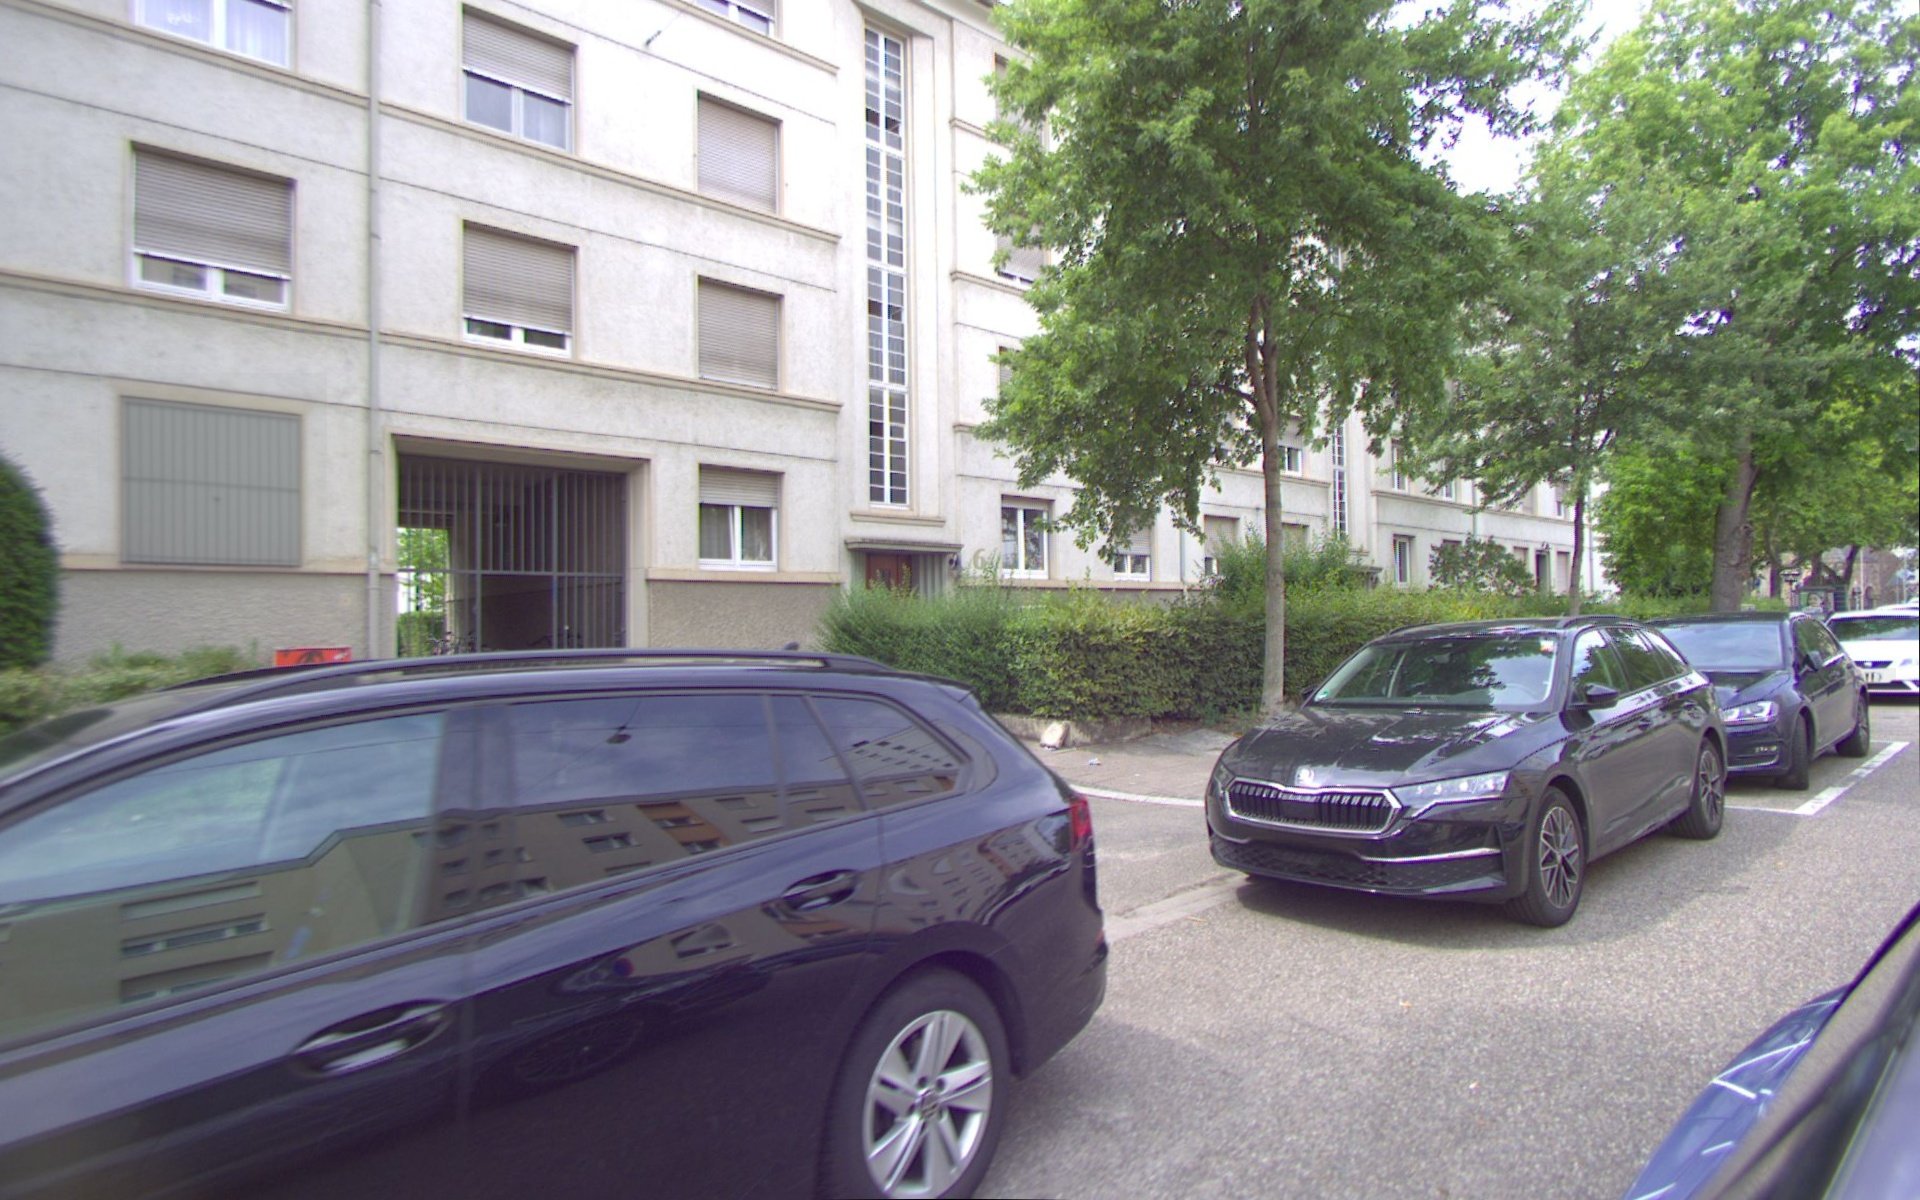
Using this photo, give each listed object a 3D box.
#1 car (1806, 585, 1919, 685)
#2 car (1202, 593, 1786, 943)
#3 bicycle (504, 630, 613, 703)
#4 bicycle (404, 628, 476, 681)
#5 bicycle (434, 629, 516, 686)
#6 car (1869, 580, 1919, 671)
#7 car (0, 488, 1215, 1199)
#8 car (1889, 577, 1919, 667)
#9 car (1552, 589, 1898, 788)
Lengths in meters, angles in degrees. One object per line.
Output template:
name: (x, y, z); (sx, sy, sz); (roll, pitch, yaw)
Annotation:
car: (15.290, 0.517, 16.532); (4.031, 1.468, 1.699); (0, -2, -42)
car: (3.637, 0.748, 6.475); (4.479, 1.488, 1.700); (-1, -2, -40)
bicycle: (-6.608, 1.036, 16.546); (0.862, 1.090, 2.656); (1, -2, -40)
bicycle: (-11.720, 1.193, 22.775); (0.862, 1.090, 2.656); (1, -2, -40)
bicycle: (-9.941, 1.140, 20.691); (0.862, 1.090, 2.656); (1, -2, -40)
car: (18.881, 0.437, 19.349); (3.737, 1.629, 1.607); (-1, -3, -40)
car: (-1.533, 0.632, 2.188); (4.672, 1.488, 1.699); (0, -2, -42)
car: (22.252, 0.421, 22.287); (4.759, 1.889, 1.921); (-1, -2, -40)
car: (7.335, 0.686, 9.569); (4.028, 1.488, 1.700); (0, -2, -40)
